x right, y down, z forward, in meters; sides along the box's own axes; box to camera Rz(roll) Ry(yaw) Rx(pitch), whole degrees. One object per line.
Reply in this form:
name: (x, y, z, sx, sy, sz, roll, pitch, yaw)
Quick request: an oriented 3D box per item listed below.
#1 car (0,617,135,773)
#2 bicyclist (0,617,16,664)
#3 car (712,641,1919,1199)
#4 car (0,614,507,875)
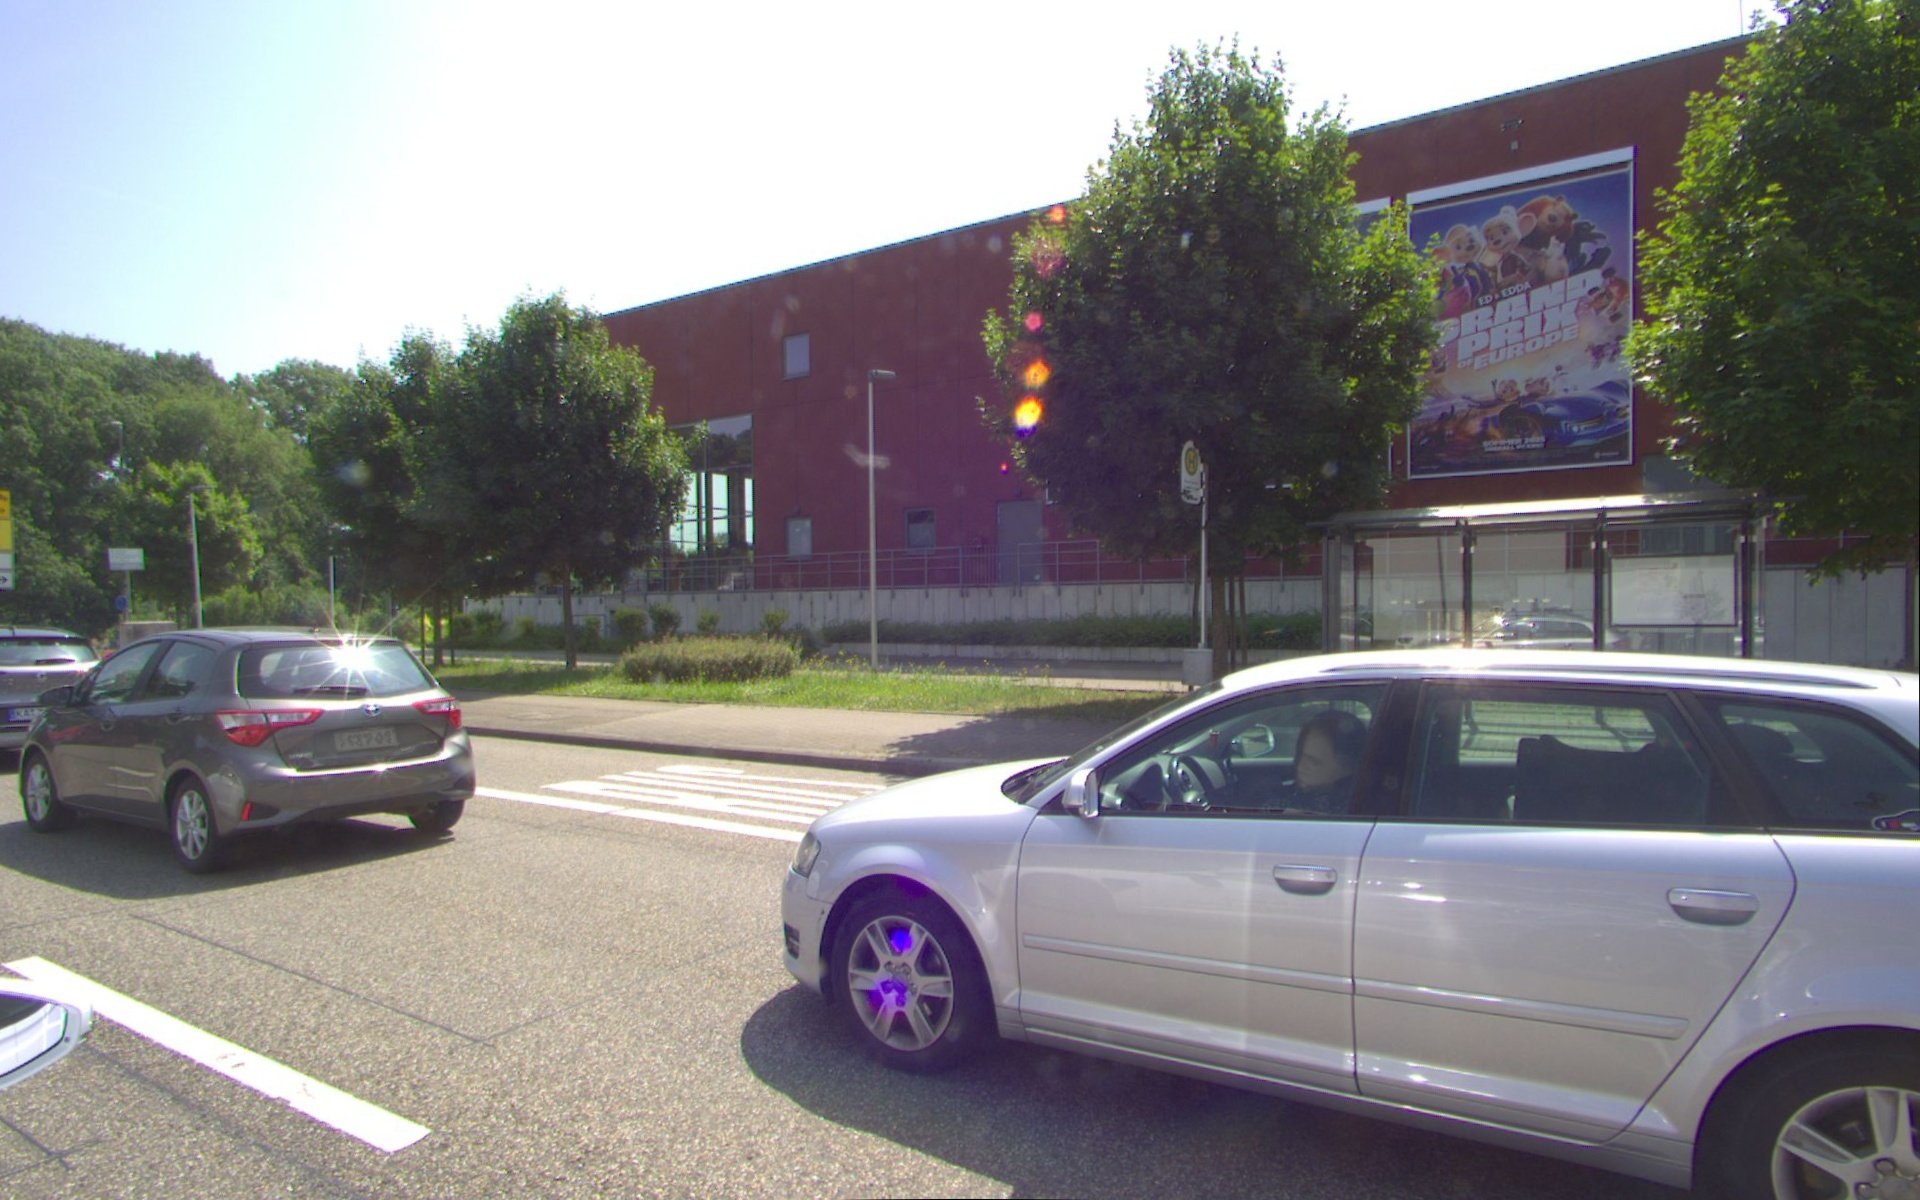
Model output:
car: (-11.484, 1.011, 11.615, 4.031, 1.614, 1.709, -1, -1, 31)
bicyclist: (-30.640, 1.292, 31.730, 0.814, 1.458, 0.598, -1, 1, -13)
car: (1.241, 0.845, 3.444, 4.031, 1.379, 1.710, -1, -2, 31)
car: (-5.457, 0.908, 7.529, 4.031, 1.496, 1.711, -1, -4, 31)
